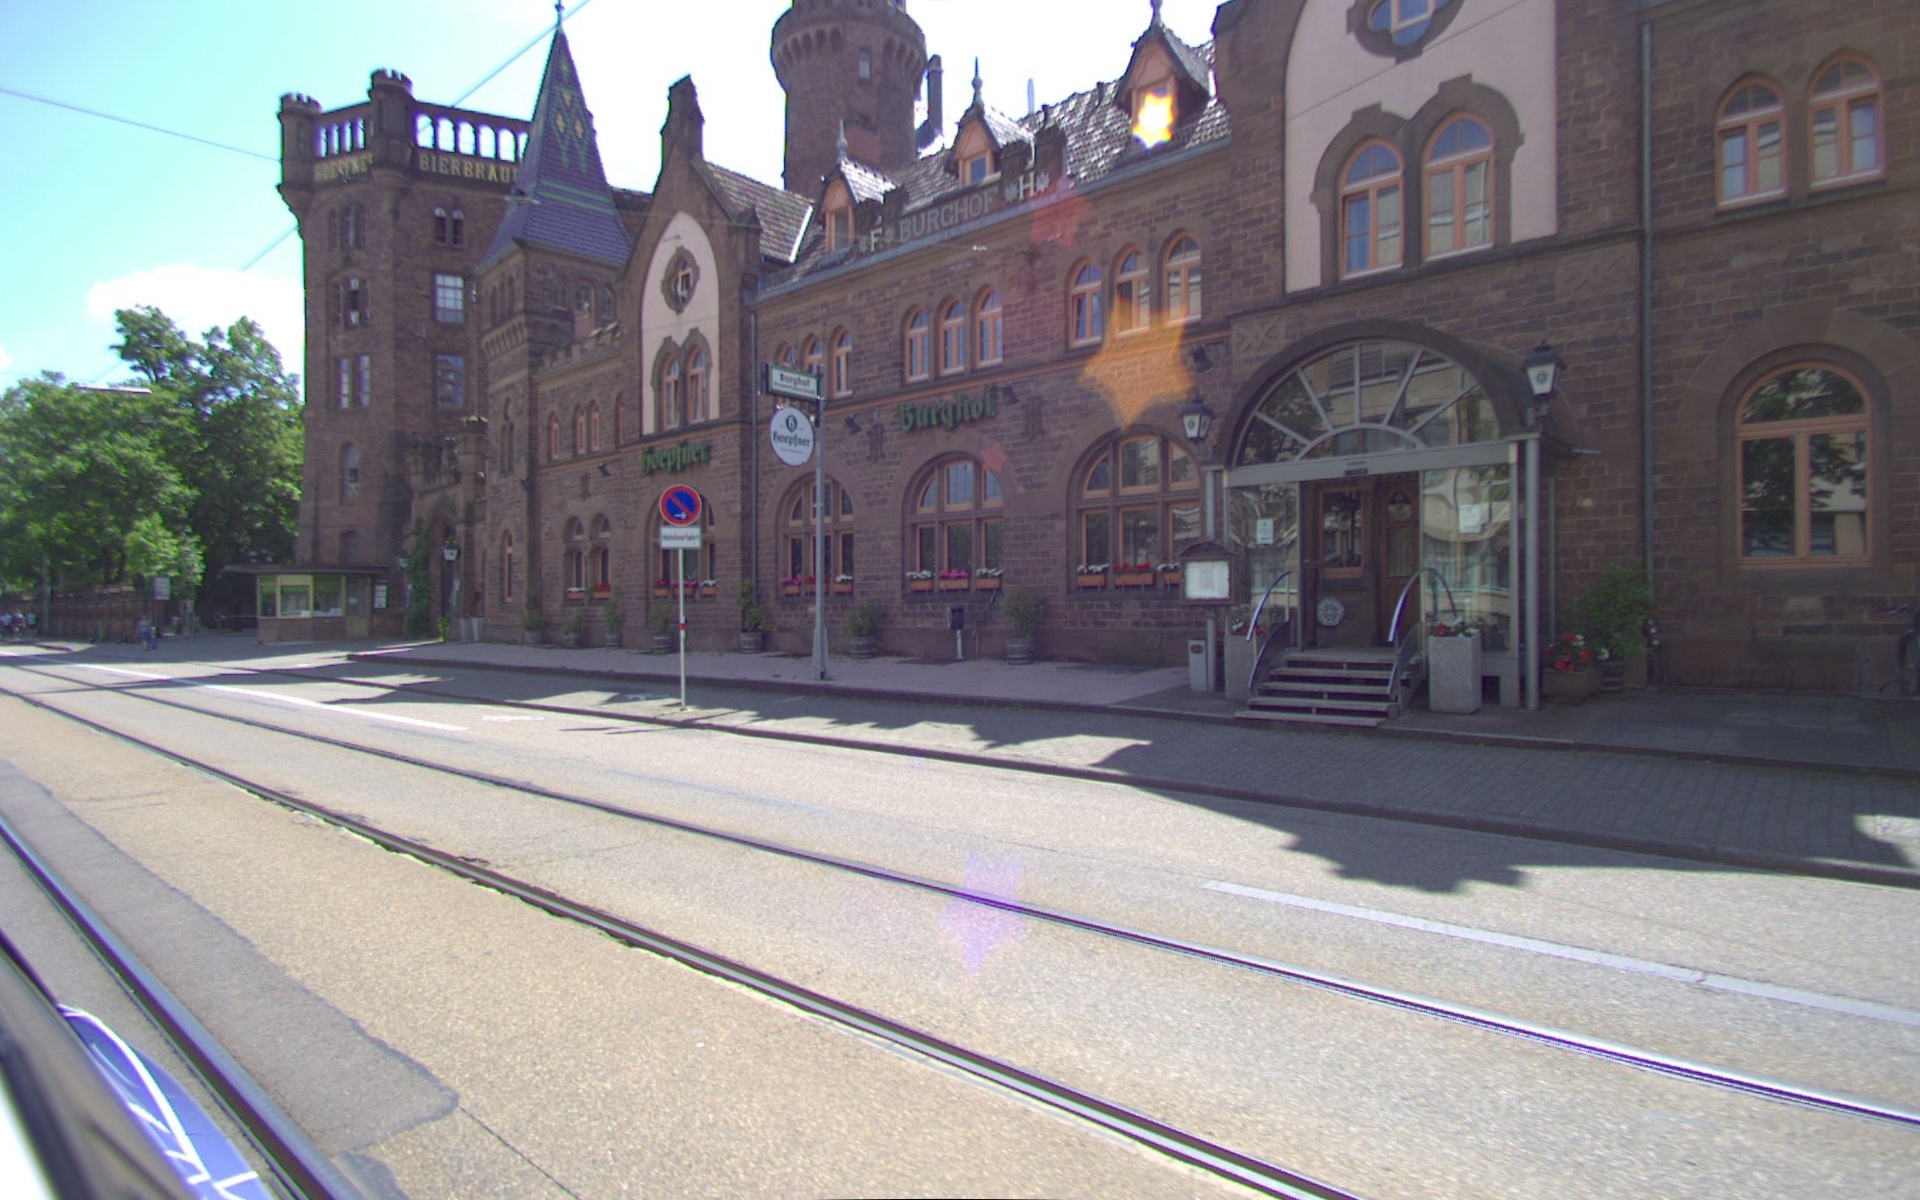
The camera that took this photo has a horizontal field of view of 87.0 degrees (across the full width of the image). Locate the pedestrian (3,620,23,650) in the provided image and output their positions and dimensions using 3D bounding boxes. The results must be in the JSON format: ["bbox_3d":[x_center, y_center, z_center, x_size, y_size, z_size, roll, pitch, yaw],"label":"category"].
[{"bbox_3d":[-57.559,2.124,61.508,0.919,1.805,0.714,-2,2,41],"label":"pedestrian"}]

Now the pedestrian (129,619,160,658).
[{"bbox_3d":[-35.010,1.654,43.446,0.919,1.600,0.791,-2,2,41],"label":"pedestrian"}]

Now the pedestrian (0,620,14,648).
[{"bbox_3d":[-62.949,2.258,66.724,0.919,1.803,0.670,-2,2,41],"label":"pedestrian"}]

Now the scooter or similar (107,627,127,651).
[{"bbox_3d":[-40.700,1.885,48.862,0.324,1.135,1.227,-2,0,-21],"label":"scooter or similar"}]

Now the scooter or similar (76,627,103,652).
[{"bbox_3d":[-43.639,1.969,50.737,0.343,1.135,1.227,-2,1,-6],"label":"scooter or similar"}]

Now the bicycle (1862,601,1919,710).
[{"bbox_3d":[9.153,0.532,9.372,0.594,0.897,1.986,-2,4,24],"label":"bicycle"}]

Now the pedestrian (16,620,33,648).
[{"bbox_3d":[-62.393,2.263,67.513,0.919,1.790,0.670,-2,2,41],"label":"pedestrian"}]

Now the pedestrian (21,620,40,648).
[{"bbox_3d":[-60.622,2.202,65.984,0.919,1.790,0.745,-2,2,41],"label":"pedestrian"}]
